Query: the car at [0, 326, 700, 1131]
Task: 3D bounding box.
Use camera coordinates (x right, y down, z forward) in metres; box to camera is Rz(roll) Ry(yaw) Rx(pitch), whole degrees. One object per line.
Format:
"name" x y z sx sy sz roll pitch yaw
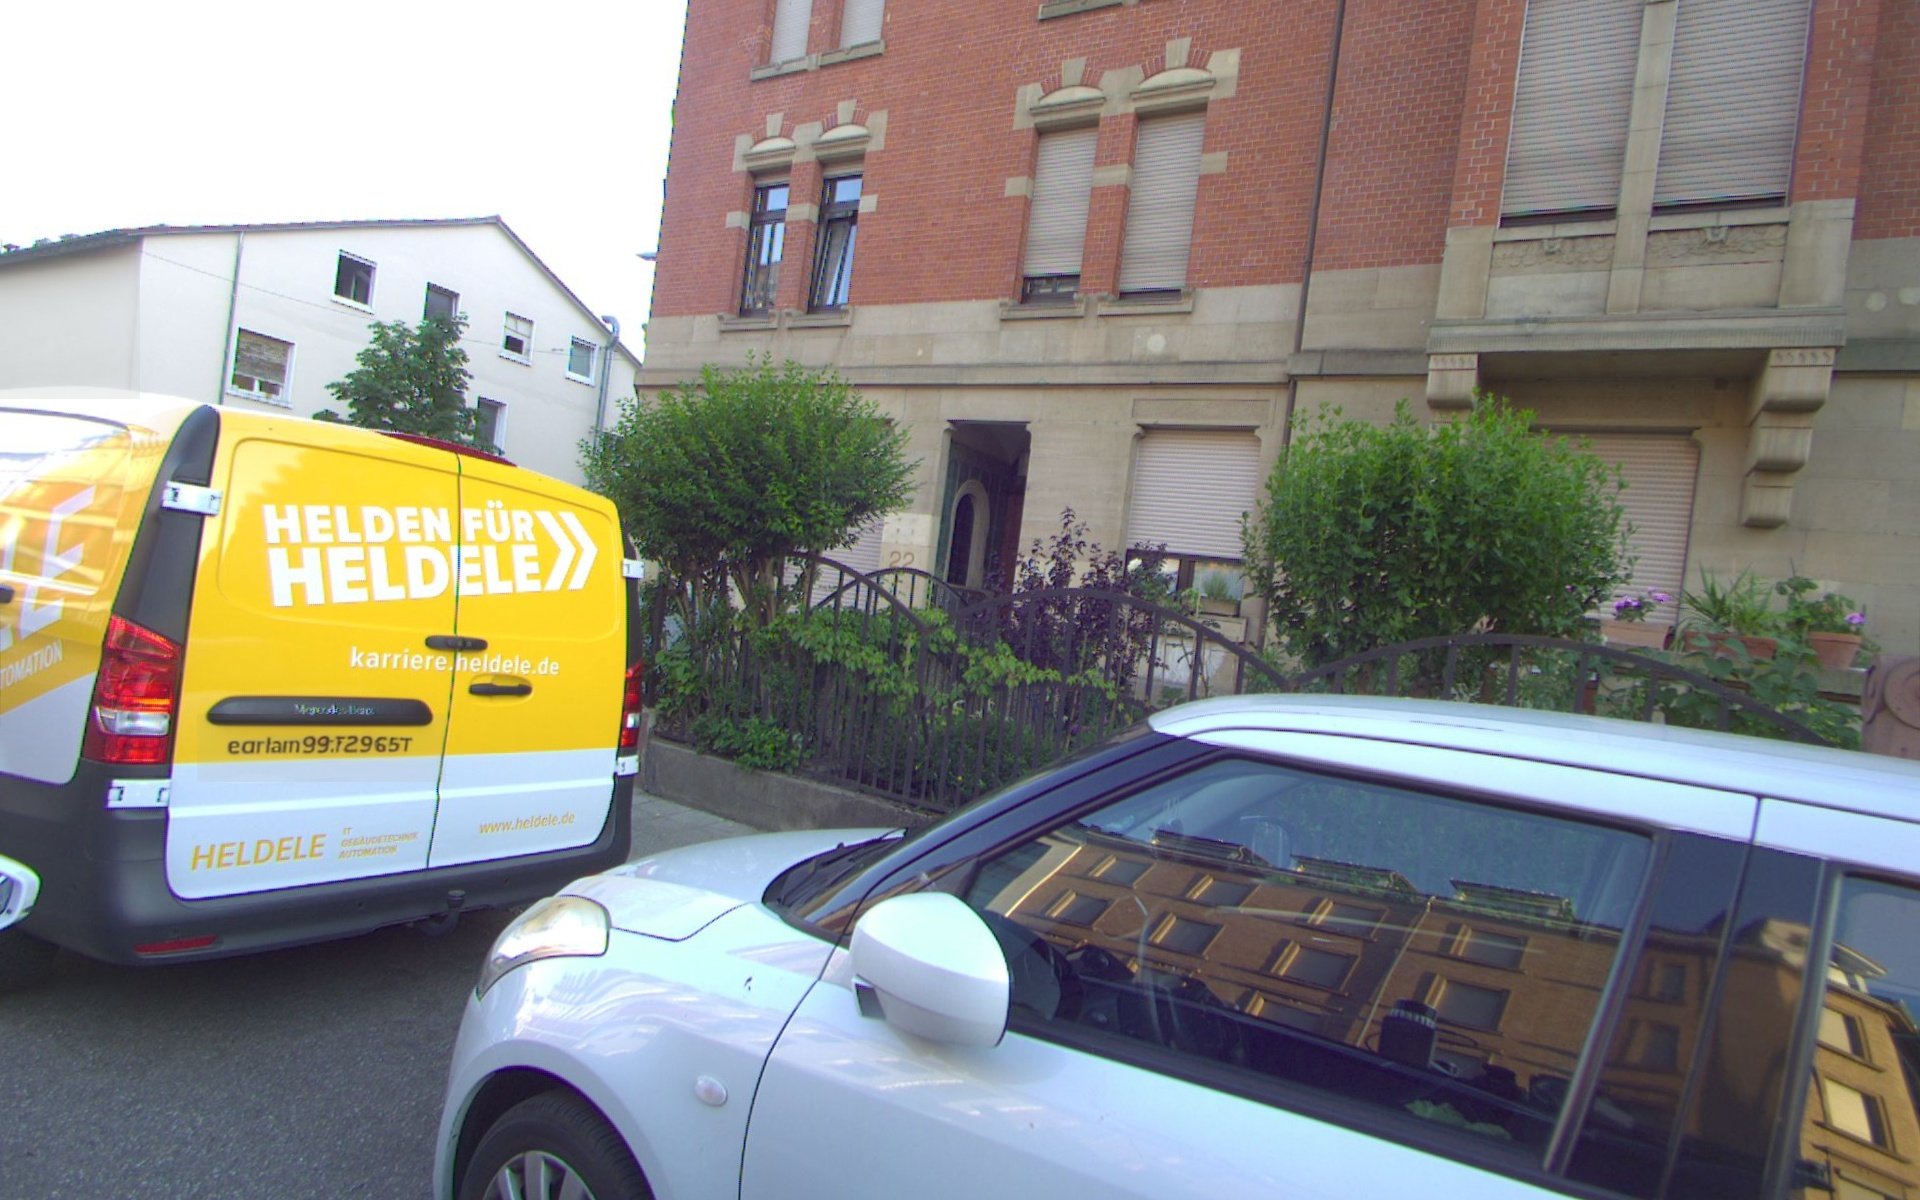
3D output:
"car" -3.756 0.126 4.467 4.996 1.906 1.897 7 -1 31

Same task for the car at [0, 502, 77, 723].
"car" -8.366 -0.186 7.243 4.182 1.440 1.725 7 -2 31

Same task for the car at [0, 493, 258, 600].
"car" -15.738 -0.962 18.751 1.629 1.473 3.936 8 0 29

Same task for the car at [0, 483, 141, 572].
"car" -19.781 -1.609 20.755 1.727 1.533 4.054 9 1 32

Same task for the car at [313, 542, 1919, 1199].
"car" 0.763 0.896 1.714 3.799 1.494 1.677 7 -1 34
